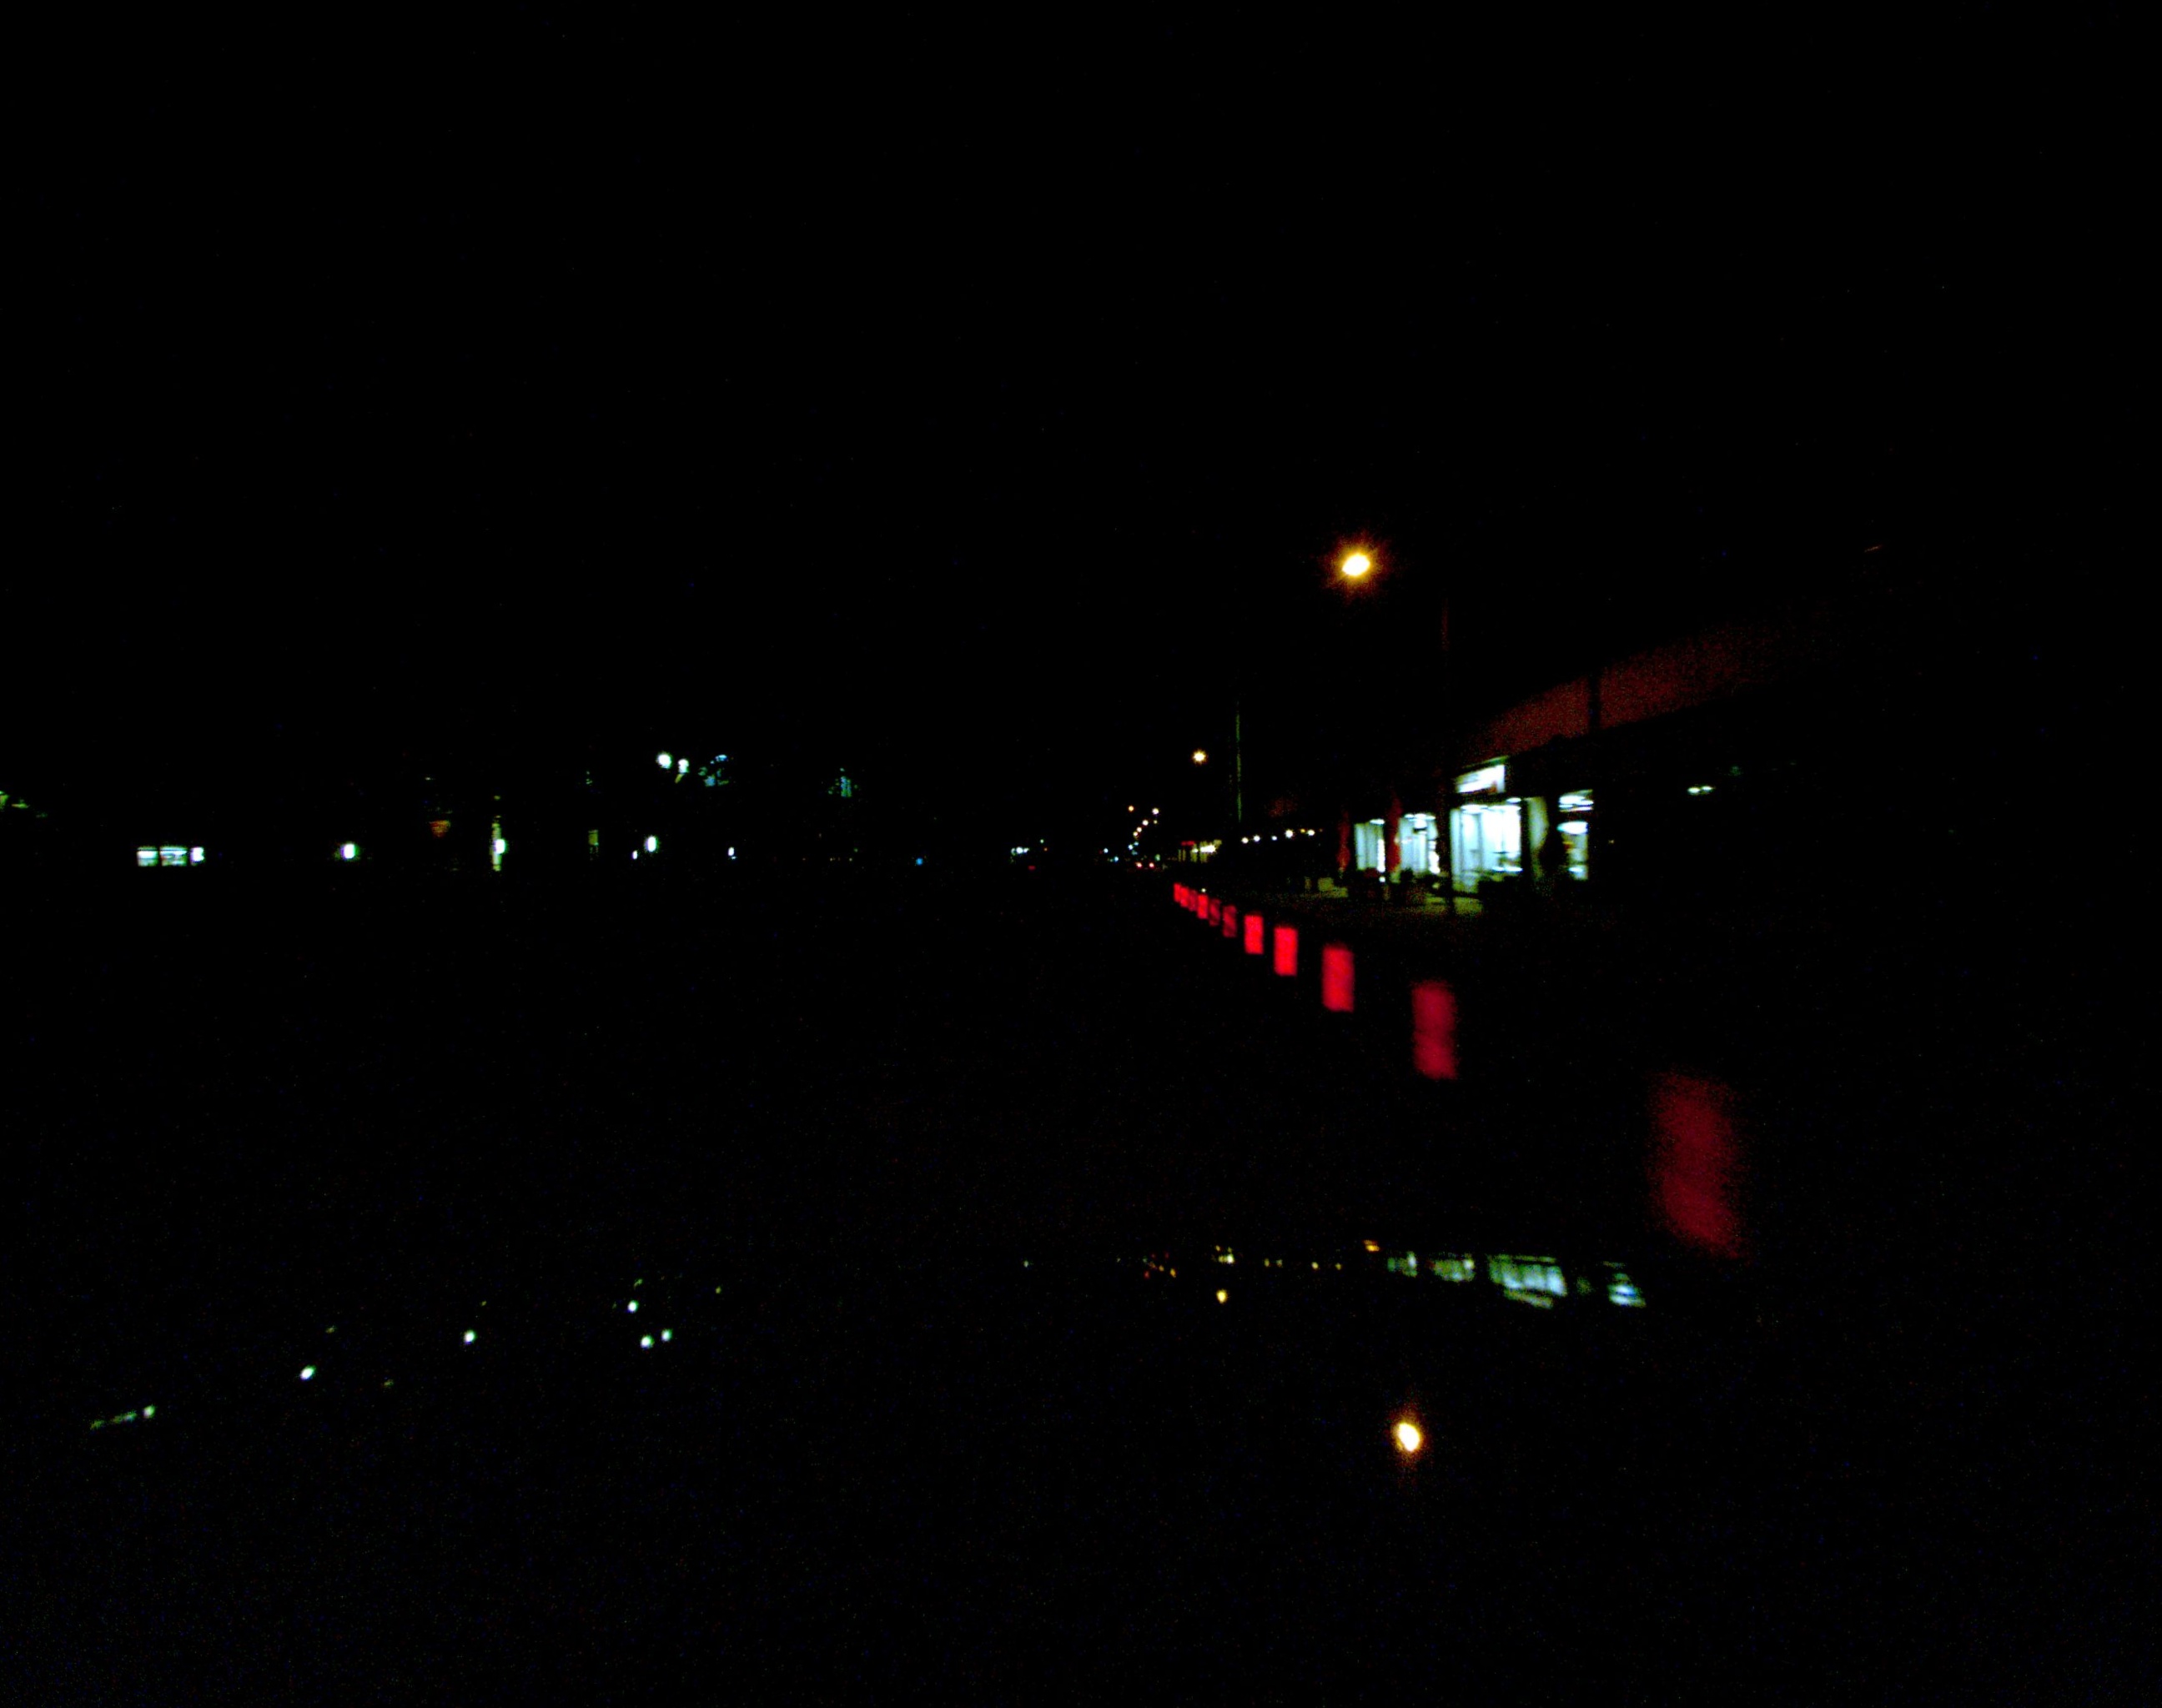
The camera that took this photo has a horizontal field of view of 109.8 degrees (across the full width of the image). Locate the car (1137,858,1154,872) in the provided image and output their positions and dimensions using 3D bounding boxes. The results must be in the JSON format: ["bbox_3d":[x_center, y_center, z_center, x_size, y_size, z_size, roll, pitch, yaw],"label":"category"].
[{"bbox_3d":[7.121,1.194,83.758,1.671,1.420,4.000,1,0,2],"label":"car"}]
